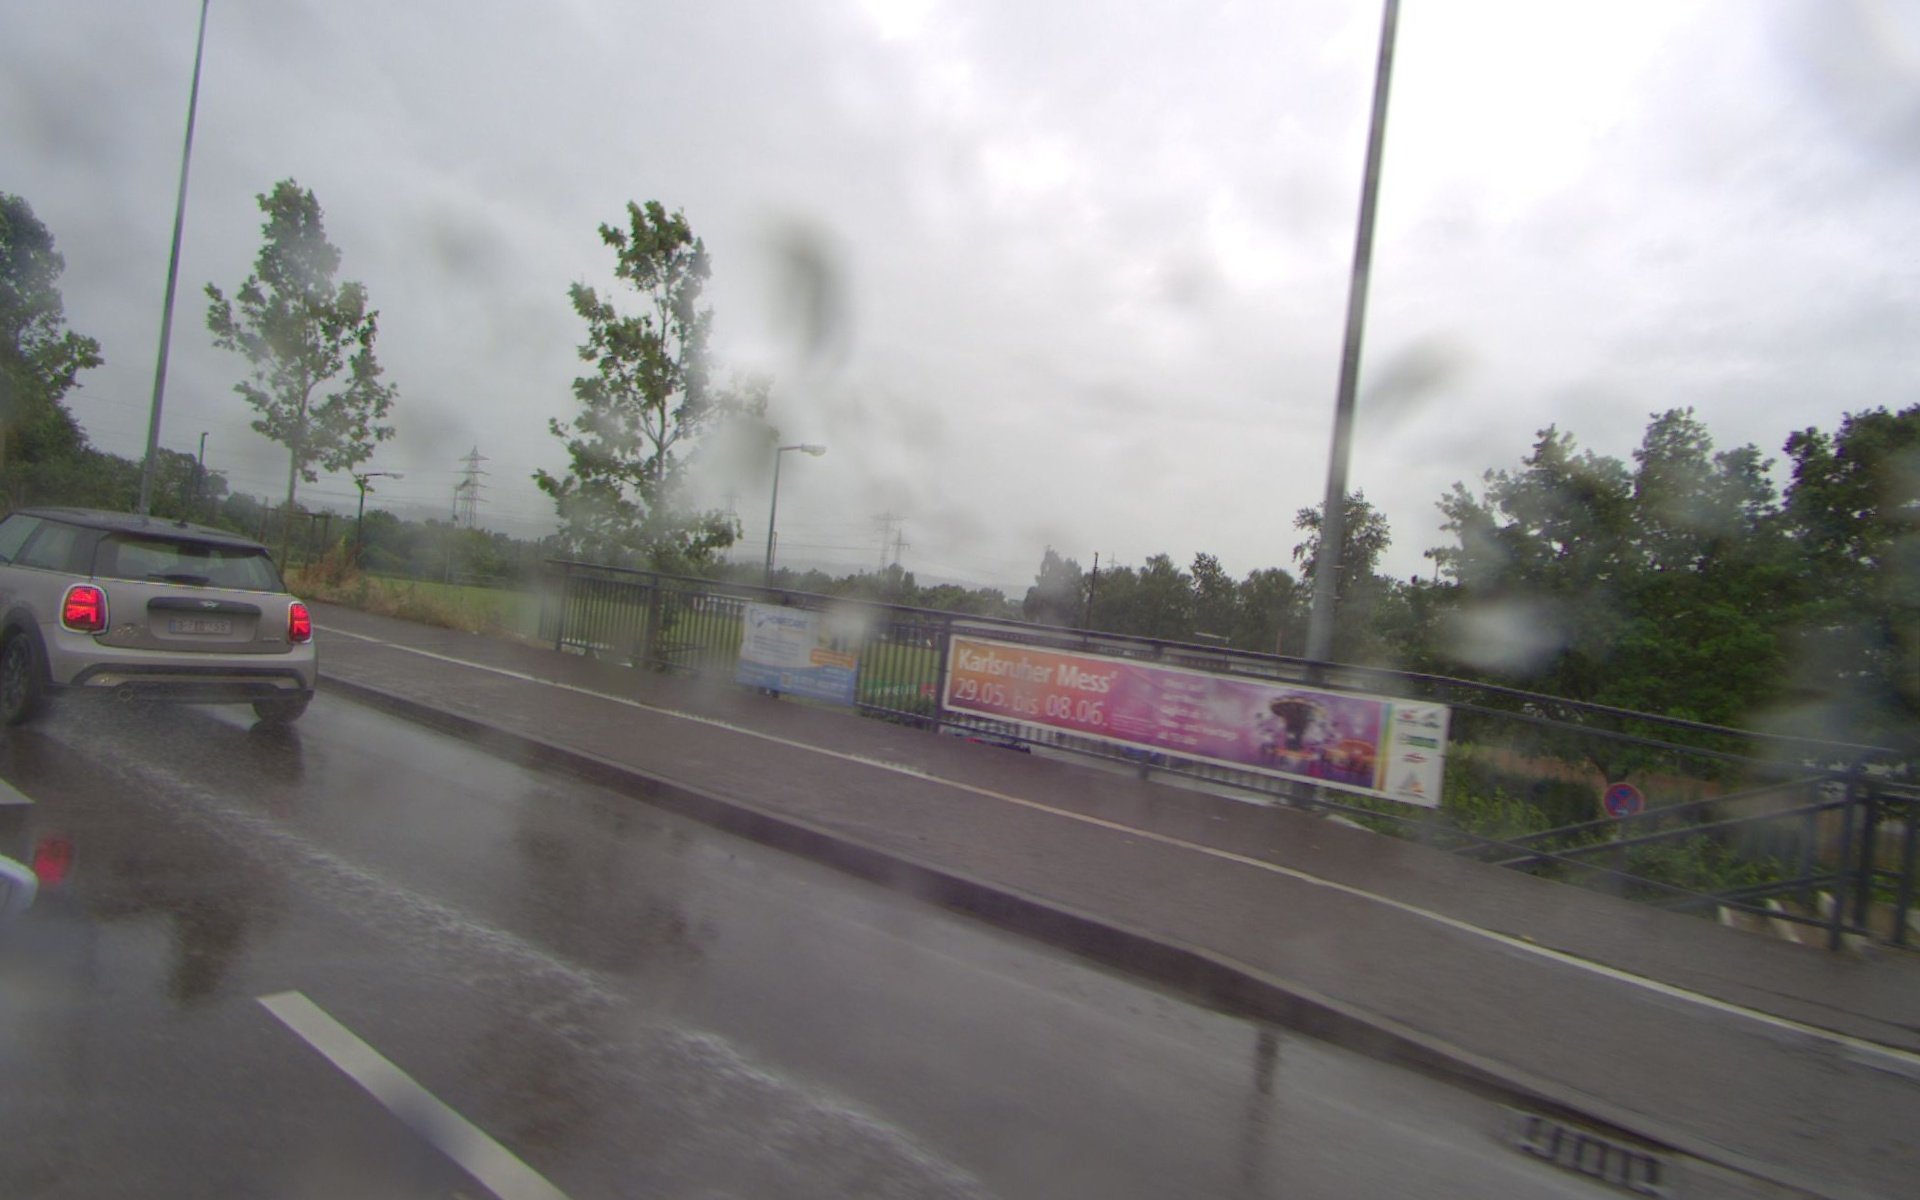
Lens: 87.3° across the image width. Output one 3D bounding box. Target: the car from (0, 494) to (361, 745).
[{"bbox_3d":[-6.642,0.033,7.809,3.790,1.430,1.794,8,-1,32],"label":"car"}]
